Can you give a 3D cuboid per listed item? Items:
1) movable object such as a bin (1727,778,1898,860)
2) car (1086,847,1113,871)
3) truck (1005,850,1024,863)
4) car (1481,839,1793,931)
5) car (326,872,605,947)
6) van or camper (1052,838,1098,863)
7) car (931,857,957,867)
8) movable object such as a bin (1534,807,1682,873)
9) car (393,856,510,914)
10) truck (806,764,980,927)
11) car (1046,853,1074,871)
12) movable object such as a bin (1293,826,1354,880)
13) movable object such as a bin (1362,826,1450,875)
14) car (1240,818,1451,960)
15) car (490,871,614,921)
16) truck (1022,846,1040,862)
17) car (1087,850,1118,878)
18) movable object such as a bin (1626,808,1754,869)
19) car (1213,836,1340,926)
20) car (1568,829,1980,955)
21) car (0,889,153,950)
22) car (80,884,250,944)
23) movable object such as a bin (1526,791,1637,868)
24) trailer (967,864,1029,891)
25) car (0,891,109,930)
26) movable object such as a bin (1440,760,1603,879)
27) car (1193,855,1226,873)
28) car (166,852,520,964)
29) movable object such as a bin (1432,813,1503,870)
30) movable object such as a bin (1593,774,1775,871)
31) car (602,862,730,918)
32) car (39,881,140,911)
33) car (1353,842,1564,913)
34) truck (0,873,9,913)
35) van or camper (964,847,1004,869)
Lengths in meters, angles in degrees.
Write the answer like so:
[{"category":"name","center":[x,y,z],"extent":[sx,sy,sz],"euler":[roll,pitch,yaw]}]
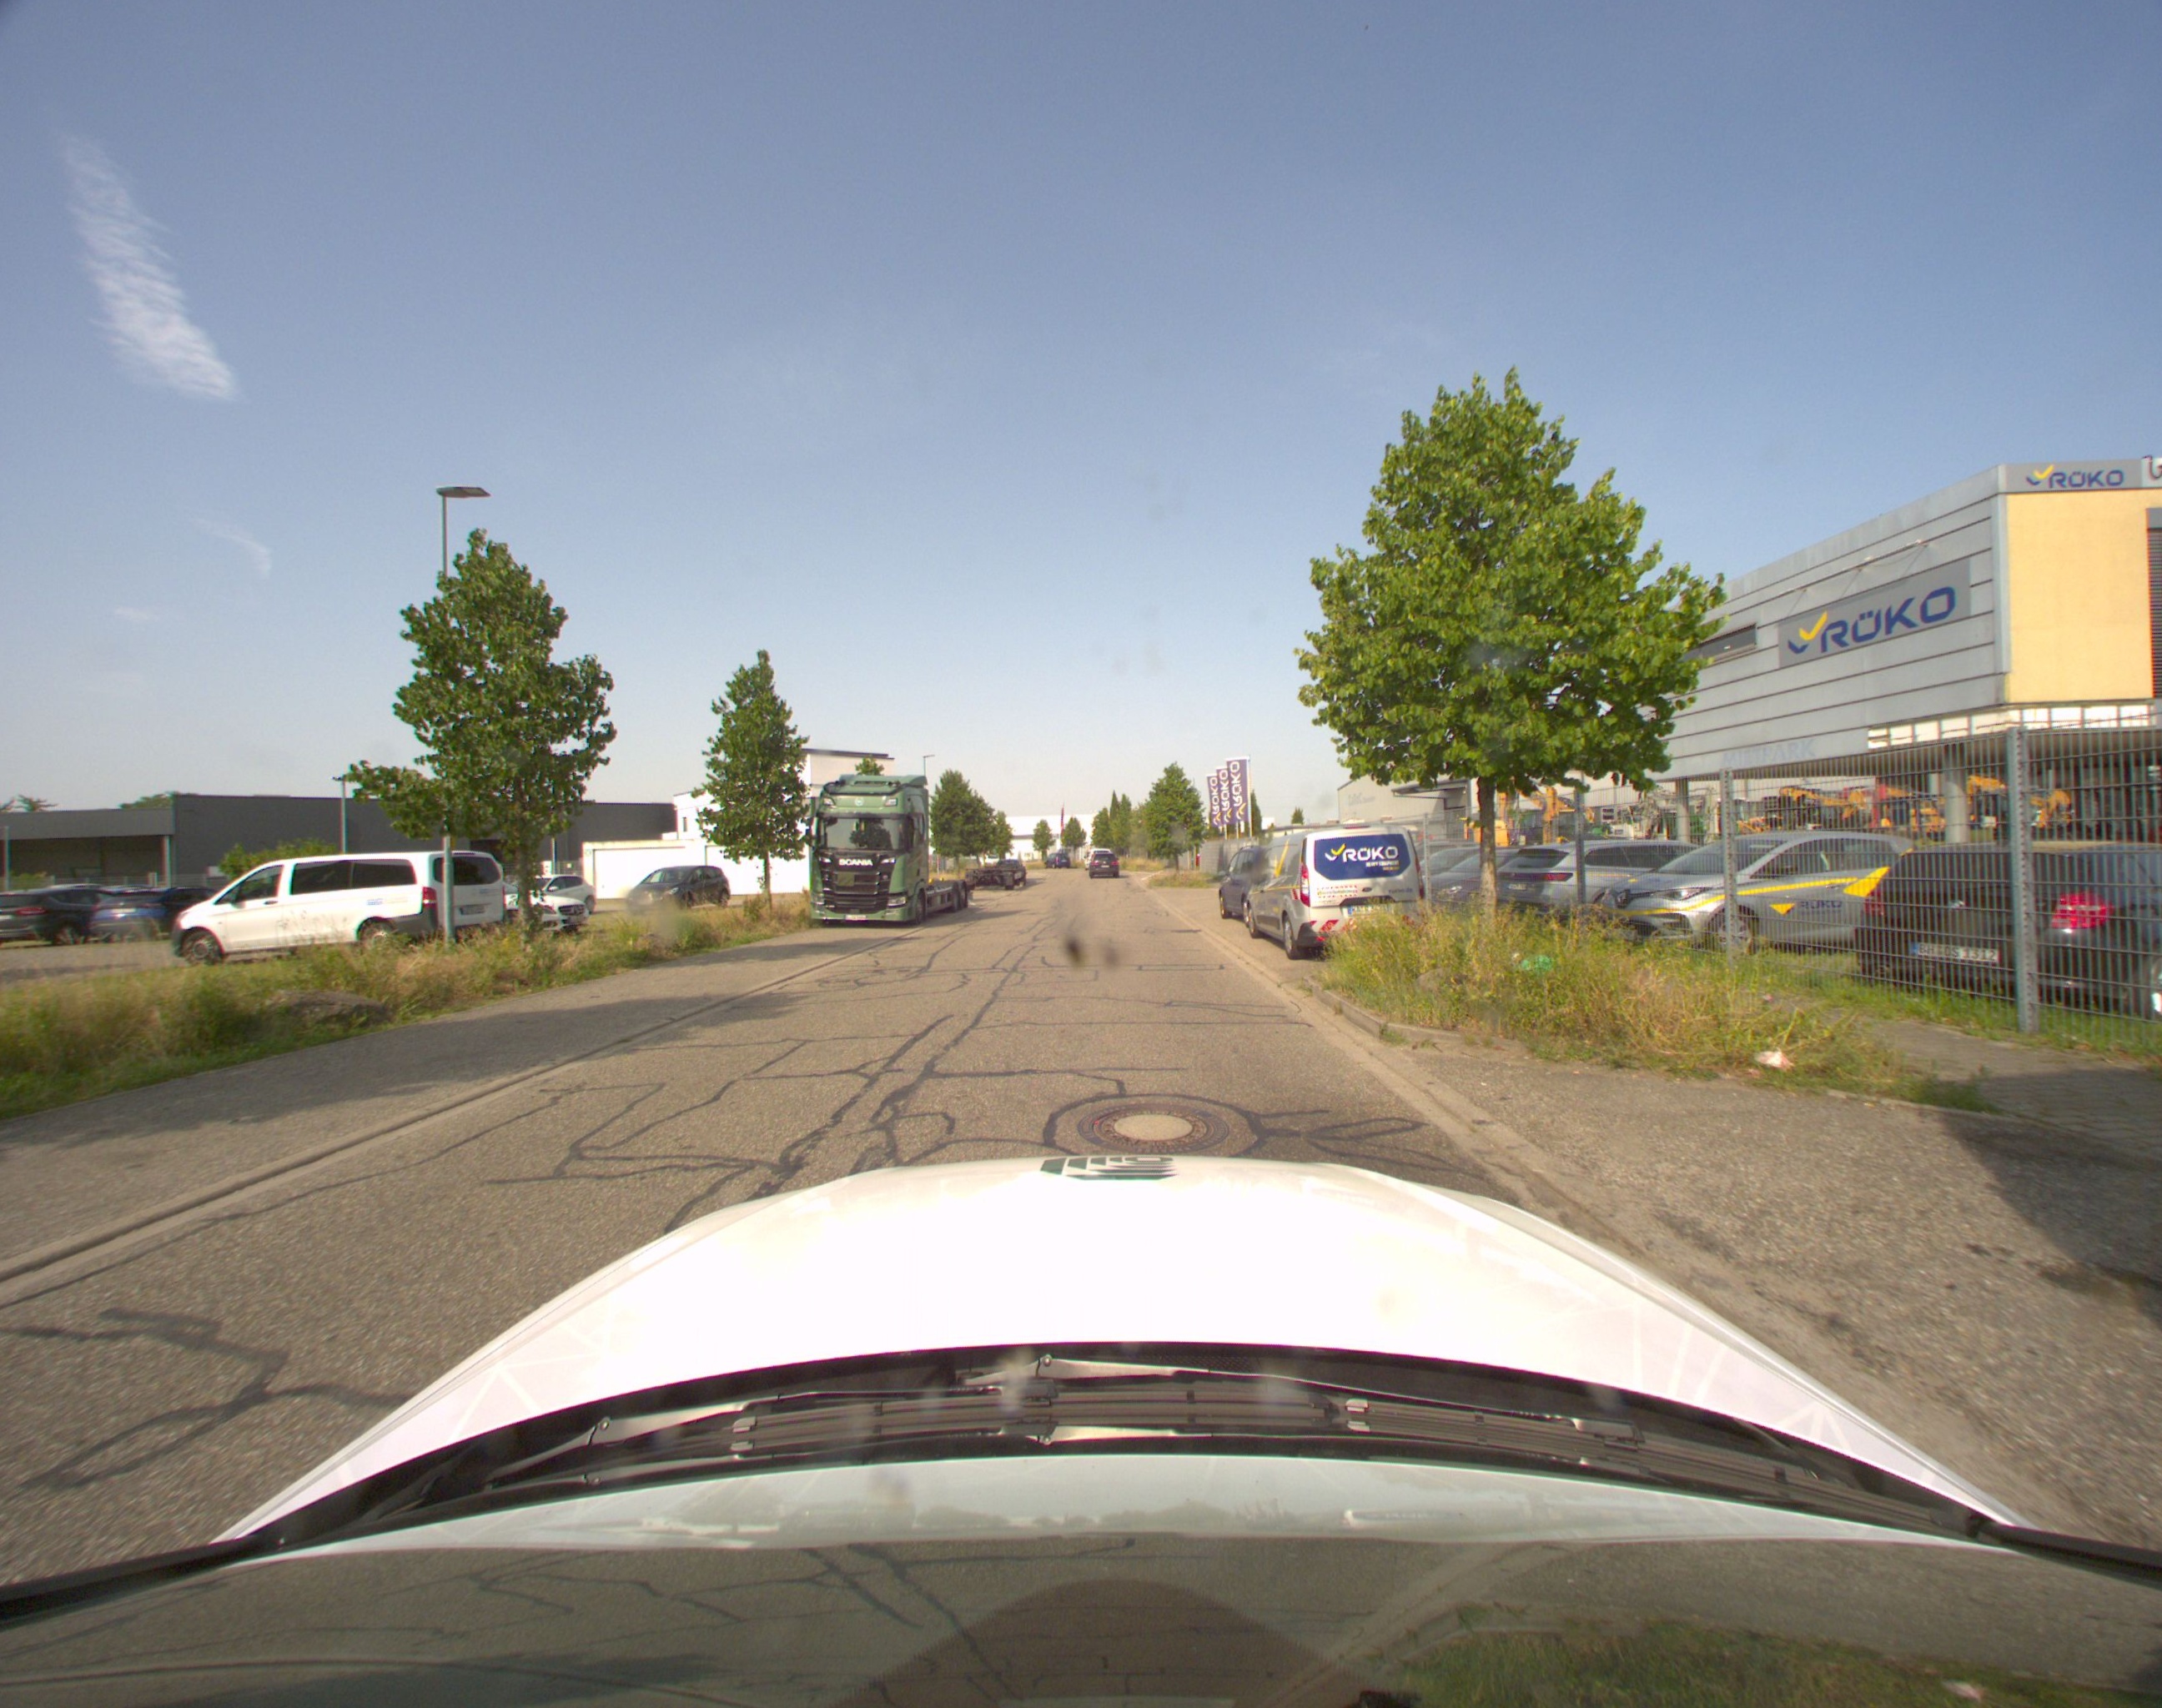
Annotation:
[{"category":"movable object such as a bin","center":[38.963,-1.707,43.803],"extent":[2.460,3.929,7.196],"euler":[-2,0,-2]},{"category":"car","center":[1.546,0.411,68.832],"extent":[1.988,1.899,4.464],"euler":[-2,0,-1]},{"category":"truck","center":[-12.204,0.467,150.710],"extent":[2.441,2.265,8.007],"euler":[-1,0,2]},{"category":"car","center":[8.928,0.468,13.289],"extent":[3.978,1.371,1.788],"euler":[0,0,-4]},{"category":"car","center":[-13.440,1.187,17.966],"extent":[4.705,1.431,2.002],"euler":[-1,0,4]},{"category":"van or camper","center":[-0.826,-0.413,100.655],"extent":[2.364,2.848,7.271],"euler":[-1,-1,-29]},{"category":"car","center":[-20.293,1.171,120.726],"extent":[2.149,1.476,4.018],"euler":[-1,0,17]},{"category":"movable object such as a bin","center":[24.056,-0.620,37.641],"extent":[2.691,2.715,6.348],"euler":[-2,0,0]},{"category":"car","center":[-30.194,1.451,39.325],"extent":[2.051,2.547,5.441],"euler":[-2,-1,-9]},{"category":"truck","center":[-5.091,-0.139,24.330],"extent":[2.445,3.882,9.809],"euler":[0,-1,3]},{"category":"car","center":[-2.189,0.781,83.917],"extent":[1.997,1.804,3.980],"euler":[0,0,-14]},{"category":"movable object such as a bin","center":[13.207,-0.040,44.682],"extent":[1.879,2.752,5.163],"euler":[-2,0,2]},{"category":"movable object such as a bin","center":[18.037,-0.168,45.559],"extent":[2.911,2.491,5.342],"euler":[-2,0,2]},{"category":"car","center":[3.856,0.482,12.794],"extent":[1.985,1.789,4.603],"euler":[-1,-1,3]},{"category":"car","center":[-19.148,1.466,29.726],"extent":[1.699,1.516,4.213],"euler":[-3,0,0]},{"category":"truck","center":[-9.241,0.021,150.613],"extent":[2.441,2.826,8.007],"euler":[-1,0,2]},{"category":"car","center":[1.428,0.668,54.354],"extent":[1.986,1.804,4.002],"euler":[0,0,2]},{"category":"movable object such as a bin","center":[30.172,-0.748,40.648],"extent":[2.047,2.769,5.690],"euler":[-2,0,0]},{"category":"car","center":[4.172,0.567,18.097],"extent":[1.819,1.720,4.249],"euler":[-1,-1,1]},{"category":"car","center":[8.830,0.443,10.603],"extent":[3.978,1.477,1.788],"euler":[0,0,-4]},{"category":"car","center":[-29.059,1.806,23.208],"extent":[1.974,1.486,3.967],"euler":[-1,-1,-25]},{"category":"car","center":[-26.773,1.687,24.006],"extent":[1.852,1.486,3.967],"euler":[-1,-1,-25]},{"category":"movable object such as a bin","center":[27.468,-1.267,44.997],"extent":[2.673,3.873,5.721],"euler":[-2,0,2]},{"category":"trailer","center":[-4.337,1.214,44.049],"extent":[2.120,1.232,7.165],"euler":[0,0,4]},{"category":"car","center":[-45.335,2.426,35.420],"extent":[1.574,1.481,4.138],"euler":[-2,-1,-9]},{"category":"movable object such as a bin","center":[19.901,-1.442,37.502],"extent":[3.305,4.806,7.672],"euler":[-2,0,0]},{"category":"car","center":[10.730,0.830,68.330],"extent":[1.875,1.358,4.770],"euler":[-2,0,-2]},{"category":"car","center":[-13.575,0.945,15.220],"extent":[4.687,1.836,2.104],"euler":[-1,0,1]},{"category":"movable object such as a bin","center":[21.990,-0.669,46.583],"extent":[1.985,3.031,4.494],"euler":[-2,0,2]},{"category":"movable object such as a bin","center":[27.250,-1.325,37.322],"extent":[2.909,3.929,7.207],"euler":[-2,0,0]},{"category":"car","center":[-14.334,1.184,28.510],"extent":[1.987,1.686,4.698],"euler":[-2,0,0]},{"category":"car","center":[-68.020,2.849,55.968],"extent":[1.857,1.768,4.006],"euler":[-2,0,5]},{"category":"car","center":[8.981,0.517,19.599],"extent":[4.214,1.495,1.898],"euler":[-2,1,-3]},{"category":"truck","center":[-68.853,2.495,49.474],"extent":[1.983,2.514,4.008],"euler":[-2,0,7]},{"category":"van or camper","center":[-13.563,0.541,113.036],"extent":[2.349,2.943,6.894],"euler":[-1,0,-36]}]
